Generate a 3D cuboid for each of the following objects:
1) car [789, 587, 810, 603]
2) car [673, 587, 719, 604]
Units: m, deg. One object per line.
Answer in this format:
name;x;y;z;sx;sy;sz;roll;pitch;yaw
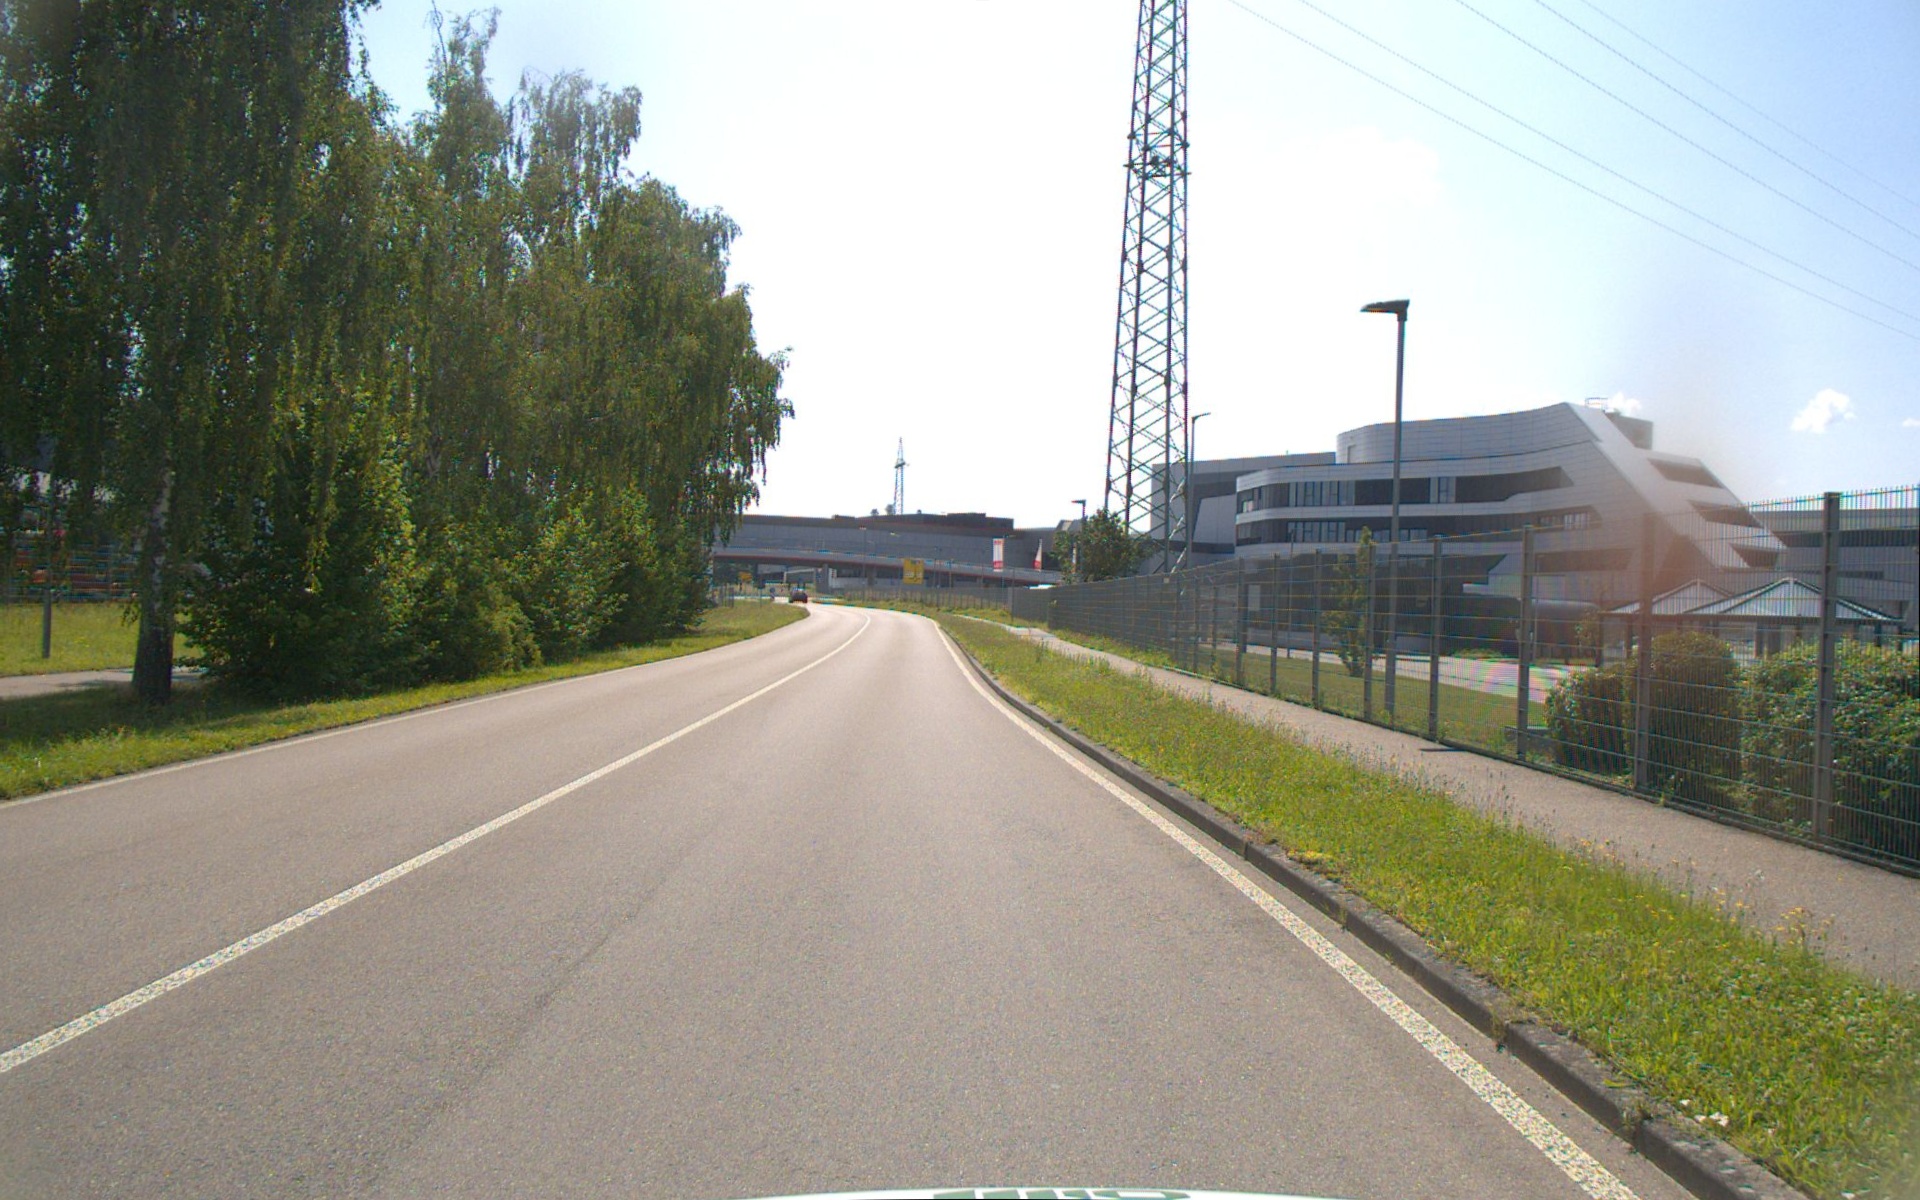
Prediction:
car;-17.588;-0.550;181.340;1.975;1.534;3.991;2;0;-10
car;-23.078;-0.419;144.674;3.654;1.312;1.689;2;0;-33
